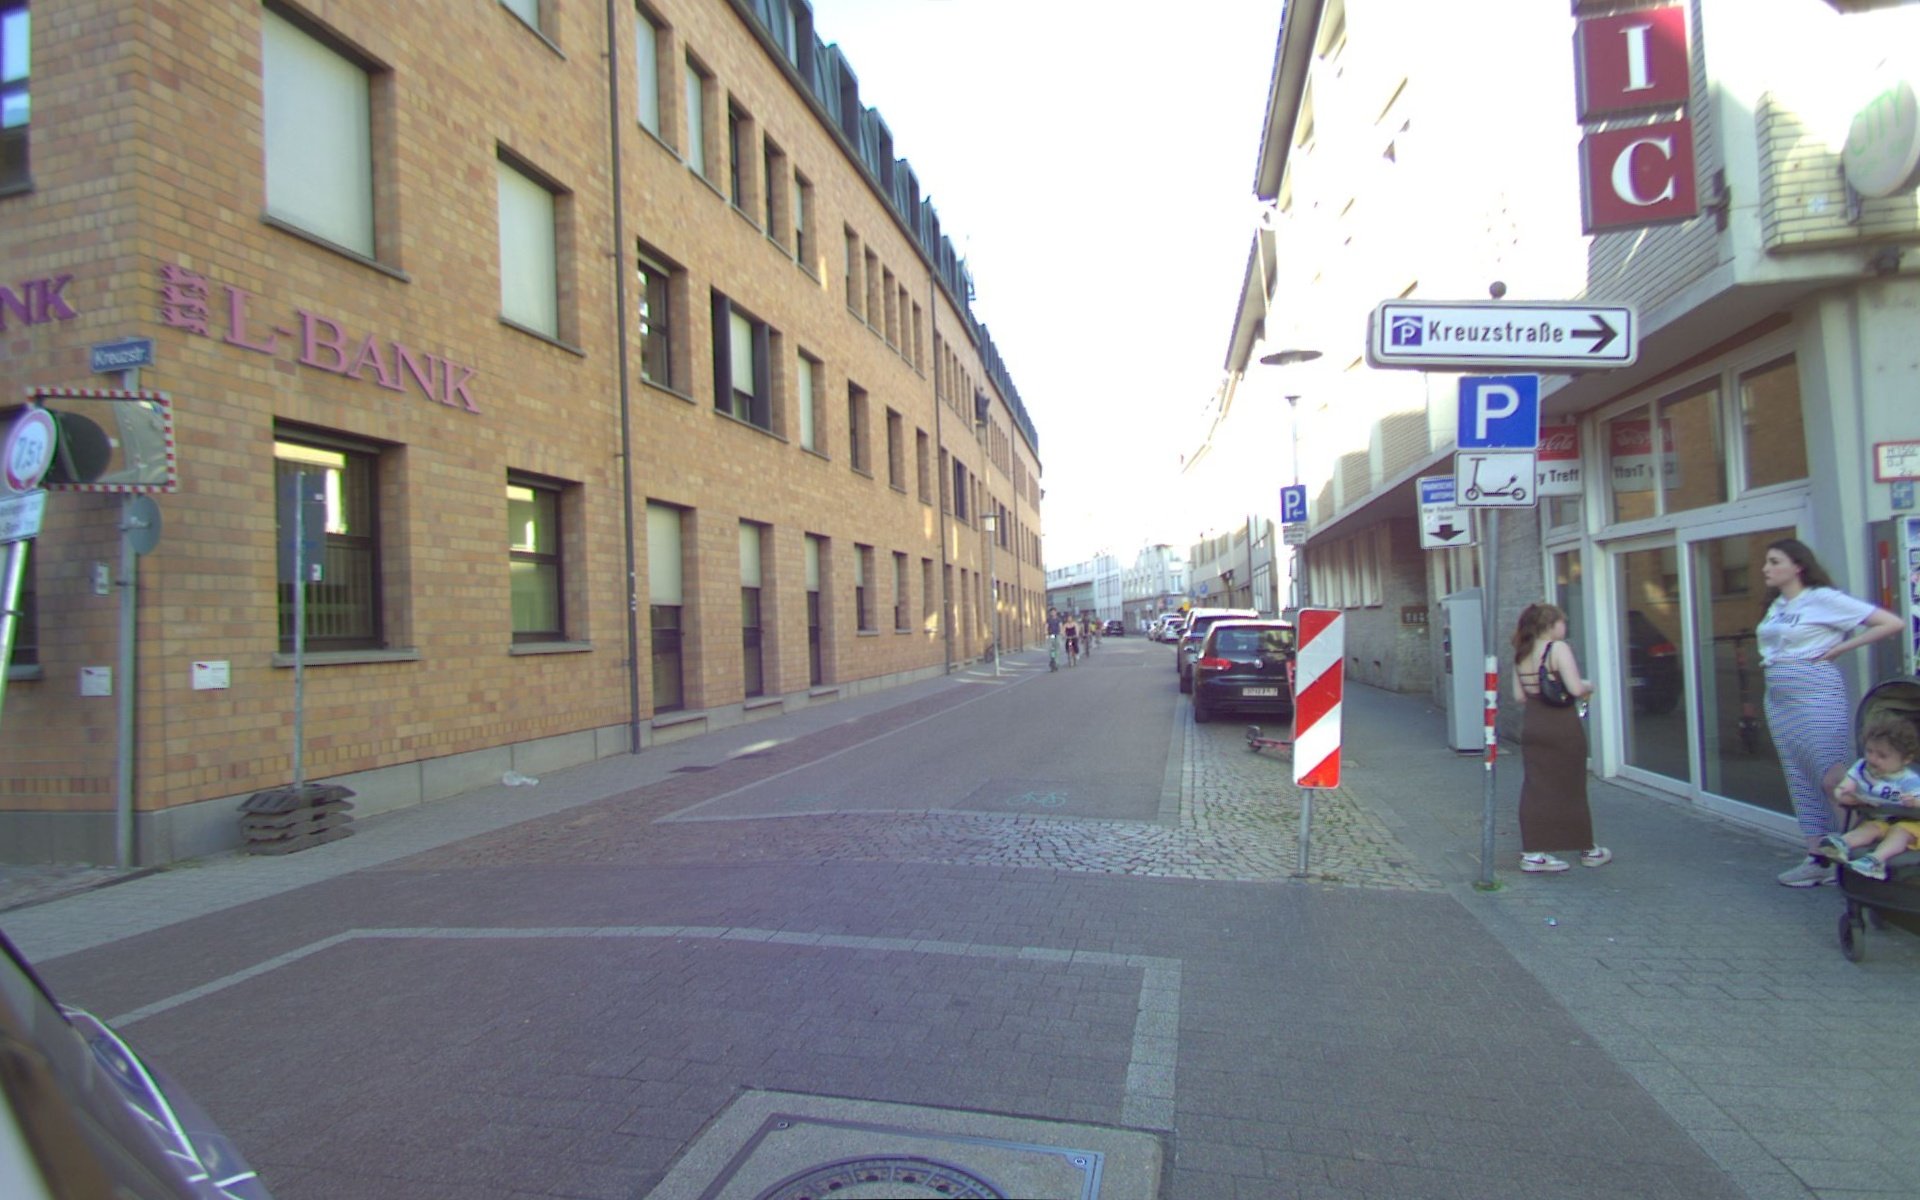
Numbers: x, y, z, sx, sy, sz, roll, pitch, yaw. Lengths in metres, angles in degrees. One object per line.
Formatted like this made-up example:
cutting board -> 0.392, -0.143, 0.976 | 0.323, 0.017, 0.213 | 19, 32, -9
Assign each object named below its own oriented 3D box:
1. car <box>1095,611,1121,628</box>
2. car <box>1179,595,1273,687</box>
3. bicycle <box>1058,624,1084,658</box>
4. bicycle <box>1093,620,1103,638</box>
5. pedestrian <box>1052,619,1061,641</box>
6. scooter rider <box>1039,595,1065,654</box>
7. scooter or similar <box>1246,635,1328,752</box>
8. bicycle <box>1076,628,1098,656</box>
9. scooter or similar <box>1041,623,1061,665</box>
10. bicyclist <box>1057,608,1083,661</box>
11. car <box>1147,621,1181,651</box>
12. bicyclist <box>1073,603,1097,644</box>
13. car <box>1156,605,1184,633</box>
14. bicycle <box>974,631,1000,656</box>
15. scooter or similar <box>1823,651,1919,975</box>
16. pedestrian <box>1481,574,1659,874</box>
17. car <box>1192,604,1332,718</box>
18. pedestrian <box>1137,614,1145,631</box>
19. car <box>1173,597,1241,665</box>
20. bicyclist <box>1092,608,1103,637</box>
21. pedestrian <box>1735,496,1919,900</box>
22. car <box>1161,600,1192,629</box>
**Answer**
car -> 15.100, 2.012, 103.137 | 1.908, 1.663, 3.837 | -2, -1, -1
car -> 5.324, 0.790, 20.623 | 1.657, 1.674, 4.064 | -1, -1, 12
bicycle -> 3.718, 1.368, 33.871 | 0.585, 1.060, 1.793 | -5, -2, 13
bicycle -> 7.516, 1.565, 55.062 | 0.431, 0.964, 1.586 | -3, -1, 9
pedestrian -> 6.913, 2.145, 72.381 | 0.537, 1.556, 0.403 | -2, -1, 12
scooter rider -> 2.787, 0.751, 30.566 | 0.642, 1.739, 0.699 | -3, -3, 12
scooter or similar -> 3.493, 0.984, 10.850 | 0.205, 1.193, 0.885 | -2, -2, -27
bicycle -> 5.119, 1.672, 40.778 | 0.568, 1.059, 1.827 | -3, -1, 15
scooter or similar -> 2.739, 1.314, 30.348 | 0.333, 1.195, 1.274 | -5, -3, 12
bicyclist -> 3.675, 1.144, 33.789 | 0.614, 1.679, 0.820 | -5, -2, 13
car -> 14.564, 2.554, 72.516 | 1.975, 2.029, 3.993 | -1, -1, 5
bicyclist -> 5.033, 0.944, 40.712 | 0.644, 1.570, 1.104 | -6, -2, 15
car -> 13.733, 1.265, 66.435 | 1.675, 1.789, 3.643 | -1, -1, 10
bicycle -> 1.056, 1.681, 39.336 | 0.636, 0.888, 2.549 | -2, -1, 9
scooter or similar -> 4.052, 0.802, 3.917 | 0.938, 1.152, 0.801 | -3, -1, -34
pedestrian -> 3.465, 0.682, 5.788 | 0.503, 1.591, 0.534 | -5, -3, -5
car -> 4.422, 0.865, 15.313 | 1.723, 1.497, 3.796 | -1, -2, 12
pedestrian -> 15.856, 1.989, 88.513 | 0.564, 1.490, 0.473 | -3, -1, 6
car -> 6.730, 0.835, 27.806 | 1.657, 1.717, 3.996 | -1, -1, 12
bicyclist -> 7.497, 1.215, 55.063 | 0.424, 1.509, 0.872 | -5, -2, 10
pedestrian -> 4.399, 0.459, 4.976 | 0.562, 1.833, 0.661 | -3, -3, -40
car -> 12.916, 0.861, 60.605 | 1.675, 1.692, 3.496 | -1, -1, 10
